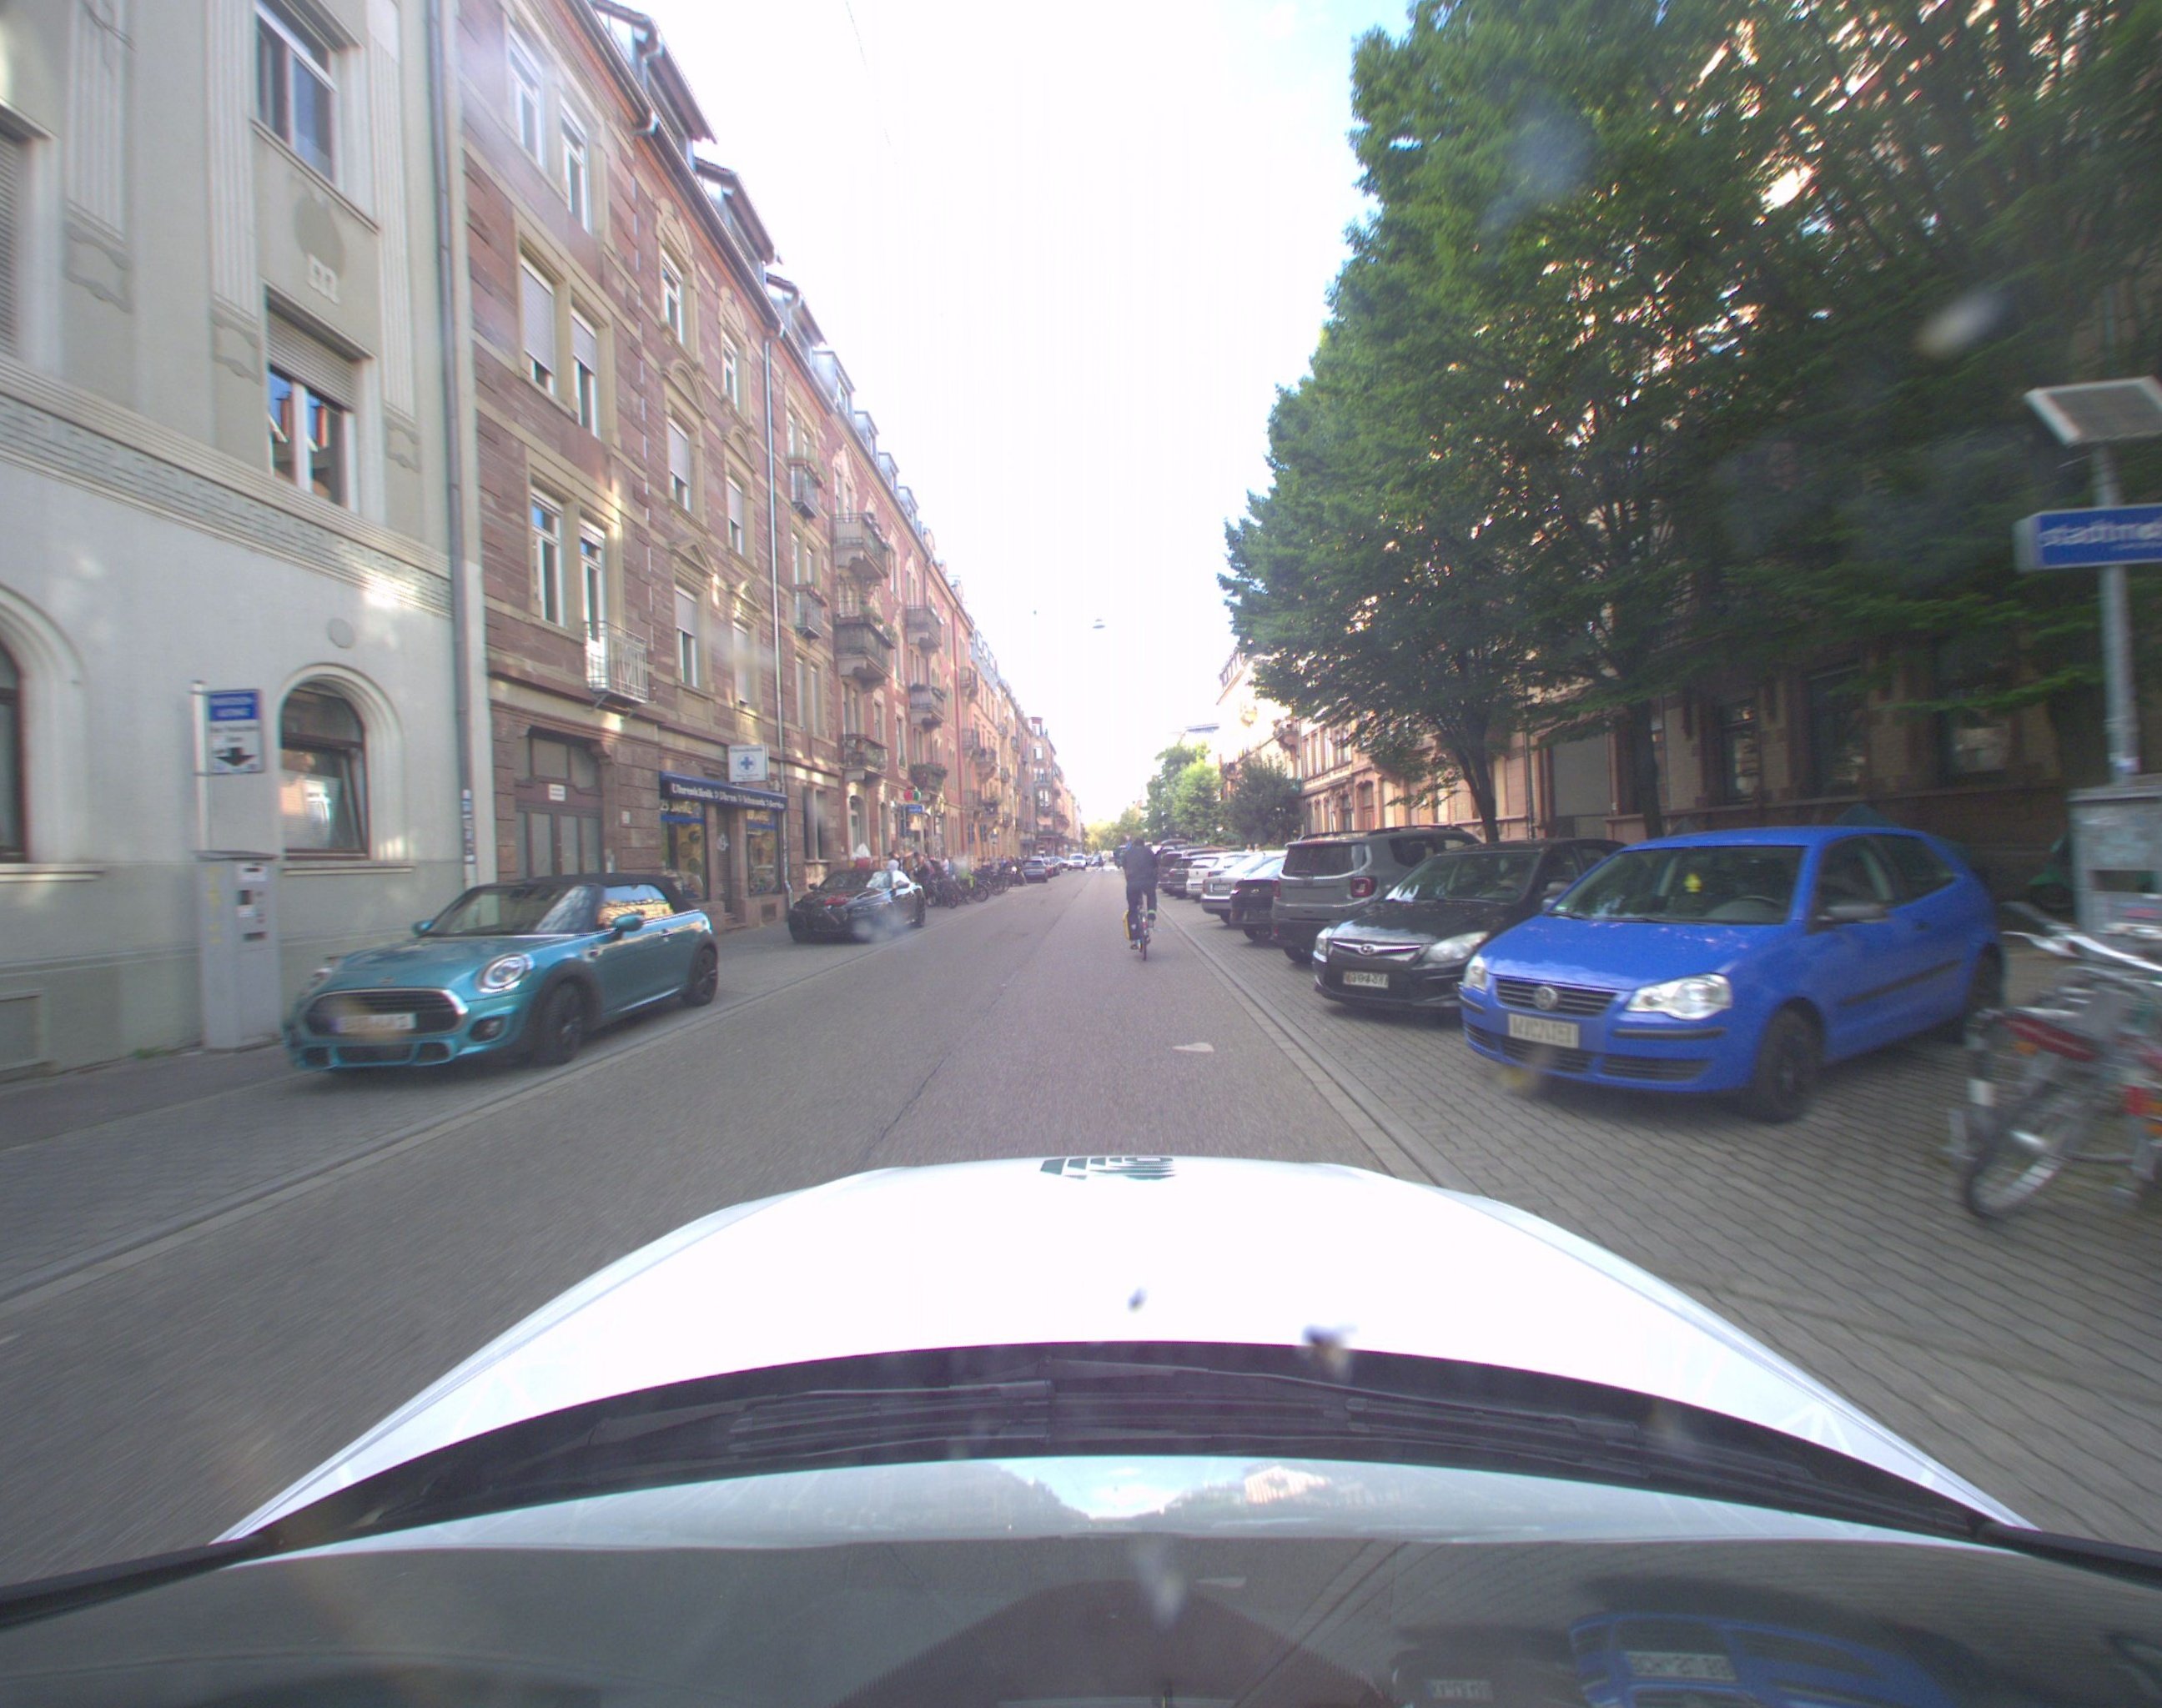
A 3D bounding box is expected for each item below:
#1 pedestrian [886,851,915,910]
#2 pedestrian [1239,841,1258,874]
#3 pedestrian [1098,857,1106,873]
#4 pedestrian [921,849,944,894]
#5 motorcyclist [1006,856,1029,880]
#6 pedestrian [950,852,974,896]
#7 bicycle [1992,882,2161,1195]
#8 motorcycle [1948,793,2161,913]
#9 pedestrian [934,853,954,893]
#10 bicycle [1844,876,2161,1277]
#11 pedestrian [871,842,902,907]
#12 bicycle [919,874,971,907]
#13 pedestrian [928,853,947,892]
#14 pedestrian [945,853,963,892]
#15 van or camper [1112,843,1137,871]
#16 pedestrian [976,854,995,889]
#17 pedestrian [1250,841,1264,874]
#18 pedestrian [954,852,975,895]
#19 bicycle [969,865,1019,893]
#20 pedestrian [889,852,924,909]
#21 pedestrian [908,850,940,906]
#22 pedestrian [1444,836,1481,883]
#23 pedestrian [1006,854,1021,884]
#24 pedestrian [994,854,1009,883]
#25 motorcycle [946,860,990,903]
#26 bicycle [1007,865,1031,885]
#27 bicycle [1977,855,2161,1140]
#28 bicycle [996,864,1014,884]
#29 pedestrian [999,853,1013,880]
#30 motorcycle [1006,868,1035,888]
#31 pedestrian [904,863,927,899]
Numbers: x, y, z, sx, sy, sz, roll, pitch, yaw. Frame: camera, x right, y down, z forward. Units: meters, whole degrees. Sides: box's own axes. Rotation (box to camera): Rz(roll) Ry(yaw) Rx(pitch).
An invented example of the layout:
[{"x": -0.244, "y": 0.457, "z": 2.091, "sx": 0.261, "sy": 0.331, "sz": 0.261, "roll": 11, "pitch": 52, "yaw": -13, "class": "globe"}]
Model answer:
[{"x": -5.814, "y": 0.847, "z": 26.227, "sx": 0.640, "sy": 1.892, "sz": 0.605, "roll": -1, "pitch": -1, "yaw": 31, "class": "pedestrian"}, {"x": 8.708, "y": 0.192, "z": 42.258, "sx": 0.652, "sy": 1.695, "sz": 0.691, "roll": -1, "pitch": -1, "yaw": -42, "class": "pedestrian"}, {"x": 2.205, "y": 1.159, "z": 86.033, "sx": 0.624, "sy": 1.739, "sz": 0.778, "roll": -3, "pitch": 0, "yaw": 14, "class": "pedestrian"}, {"x": -6.236, "y": 0.710, "z": 34.239, "sx": 0.765, "sy": 1.854, "sz": 0.659, "roll": -1, "pitch": 0, "yaw": -29, "class": "pedestrian"}, {"x": -3.442, "y": 0.765, "z": 44.245, "sx": 1.018, "sy": 1.245, "sz": 0.797, "roll": -1, "pitch": -1, "yaw": -24, "class": "motorcyclist"}, {"x": -4.816, "y": 0.791, "z": 32.926, "sx": 0.600, "sy": 1.751, "sz": 0.949, "roll": -2, "pitch": 0, "yaw": 14, "class": "pedestrian"}, {"x": 4.582, "y": 0.666, "z": 2.847, "sx": 0.452, "sy": 1.153, "sz": 1.764, "roll": -1, "pitch": -3, "yaw": -44, "class": "bicycle"}, {"x": 11.080, "y": -0.017, "z": 8.751, "sx": 0.890, "sy": 1.187, "sz": 2.491, "roll": -1, "pitch": 0, "yaw": 1, "class": "motorcycle"}, {"x": -5.975, "y": 0.831, "z": 35.433, "sx": 0.667, "sy": 1.696, "sz": 0.580, "roll": -1, "pitch": 0, "yaw": -29, "class": "pedestrian"}, {"x": 3.704, "y": 0.687, "z": 2.597, "sx": 0.705, "sy": 1.212, "sz": 1.729, "roll": -1, "pitch": -1, "yaw": -38, "class": "bicycle"}, {"x": -6.115, "y": 0.649, "z": 25.662, "sx": 0.637, "sy": 2.013, "sz": 0.634, "roll": -2, "pitch": -1, "yaw": 30, "class": "pedestrian"}, {"x": -4.396, "y": 1.169, "z": 26.283, "sx": 1.667, "sy": 1.030, "sz": 0.411, "roll": -2, "pitch": -1, "yaw": 22, "class": "bicycle"}, {"x": -6.385, "y": 0.806, "z": 36.182, "sx": 0.661, "sy": 1.696, "sz": 0.764, "roll": -1, "pitch": 0, "yaw": 2, "class": "pedestrian"}, {"x": -5.595, "y": 0.800, "z": 35.942, "sx": 0.567, "sy": 1.696, "sz": 0.641, "roll": -1, "pitch": 0, "yaw": -29, "class": "pedestrian"}, {"x": 4.976, "y": 0.314, "z": 93.337, "sx": 2.523, "sy": 3.037, "sz": 4.458, "roll": -3, "pitch": 0, "yaw": 0, "class": "van or camper"}, {"x": -4.699, "y": 0.846, "z": 40.026, "sx": 0.910, "sy": 1.661, "sz": 0.826, "roll": -1, "pitch": 0, "yaw": -7, "class": "pedestrian"}, {"x": 9.003, "y": 0.186, "z": 41.629, "sx": 0.571, "sy": 1.659, "sz": 0.633, "roll": -1, "pitch": 0, "yaw": 2, "class": "pedestrian"}, {"x": -4.861, "y": 0.802, "z": 34.066, "sx": 0.600, "sy": 1.751, "sz": 0.728, "roll": -2, "pitch": -1, "yaw": 12, "class": "pedestrian"}, {"x": -3.829, "y": 1.093, "z": 35.880, "sx": 0.798, "sy": 1.159, "sz": 2.284, "roll": -1, "pitch": 0, "yaw": 39, "class": "bicycle"}, {"x": -5.432, "y": 0.814, "z": 25.343, "sx": 0.753, "sy": 1.759, "sz": 0.670, "roll": -1, "pitch": 0, "yaw": 31, "class": "pedestrian"}, {"x": -5.201, "y": 0.786, "z": 26.945, "sx": 0.753, "sy": 1.818, "sz": 0.670, "roll": -1, "pitch": -1, "yaw": 31, "class": "pedestrian"}, {"x": 10.535, "y": 0.150, "z": 22.496, "sx": 0.573, "sy": 1.280, "sz": 0.712, "roll": 0, "pitch": -2, "yaw": -37, "class": "pedestrian"}, {"x": -3.862, "y": 0.844, "z": 46.737, "sx": 0.568, "sy": 1.709, "sz": 0.661, "roll": -1, "pitch": -1, "yaw": -33, "class": "pedestrian"}, {"x": -4.599, "y": 0.825, "z": 46.940, "sx": 0.683, "sy": 1.661, "sz": 0.546, "roll": -1, "pitch": 0, "yaw": -28, "class": "pedestrian"}, {"x": -3.864, "y": 0.934, "z": 28.092, "sx": 0.702, "sy": 1.384, "sz": 2.032, "roll": -1, "pitch": 0, "yaw": 16, "class": "motorcycle"}, {"x": -3.476, "y": 1.177, "z": 45.965, "sx": 0.477, "sy": 1.059, "sz": 1.915, "roll": -1, "pitch": -1, "yaw": 26, "class": "bicycle"}, {"x": 5.067, "y": 0.600, "z": 3.405, "sx": 0.472, "sy": 1.212, "sz": 1.696, "roll": -1, "pitch": -2, "yaw": -44, "class": "bicycle"}, {"x": -4.243, "y": 1.129, "z": 45.663, "sx": 0.490, "sy": 1.095, "sz": 1.910, "roll": -1, "pitch": -1, "yaw": 11, "class": "bicycle"}, {"x": -5.052, "y": 0.813, "z": 54.605, "sx": 0.752, "sy": 1.808, "sz": 0.864, "roll": -1, "pitch": 0, "yaw": 5, "class": "pedestrian"}, {"x": -3.301, "y": 1.289, "z": 44.050, "sx": 0.797, "sy": 0.995, "sz": 2.480, "roll": -1, "pitch": 0, "yaw": -24, "class": "motorcycle"}, {"x": -6.244, "y": 1.004, "z": 30.766, "sx": 0.721, "sy": 1.313, "sz": 0.606, "roll": -1, "pitch": 0, "yaw": -2, "class": "pedestrian"}]
